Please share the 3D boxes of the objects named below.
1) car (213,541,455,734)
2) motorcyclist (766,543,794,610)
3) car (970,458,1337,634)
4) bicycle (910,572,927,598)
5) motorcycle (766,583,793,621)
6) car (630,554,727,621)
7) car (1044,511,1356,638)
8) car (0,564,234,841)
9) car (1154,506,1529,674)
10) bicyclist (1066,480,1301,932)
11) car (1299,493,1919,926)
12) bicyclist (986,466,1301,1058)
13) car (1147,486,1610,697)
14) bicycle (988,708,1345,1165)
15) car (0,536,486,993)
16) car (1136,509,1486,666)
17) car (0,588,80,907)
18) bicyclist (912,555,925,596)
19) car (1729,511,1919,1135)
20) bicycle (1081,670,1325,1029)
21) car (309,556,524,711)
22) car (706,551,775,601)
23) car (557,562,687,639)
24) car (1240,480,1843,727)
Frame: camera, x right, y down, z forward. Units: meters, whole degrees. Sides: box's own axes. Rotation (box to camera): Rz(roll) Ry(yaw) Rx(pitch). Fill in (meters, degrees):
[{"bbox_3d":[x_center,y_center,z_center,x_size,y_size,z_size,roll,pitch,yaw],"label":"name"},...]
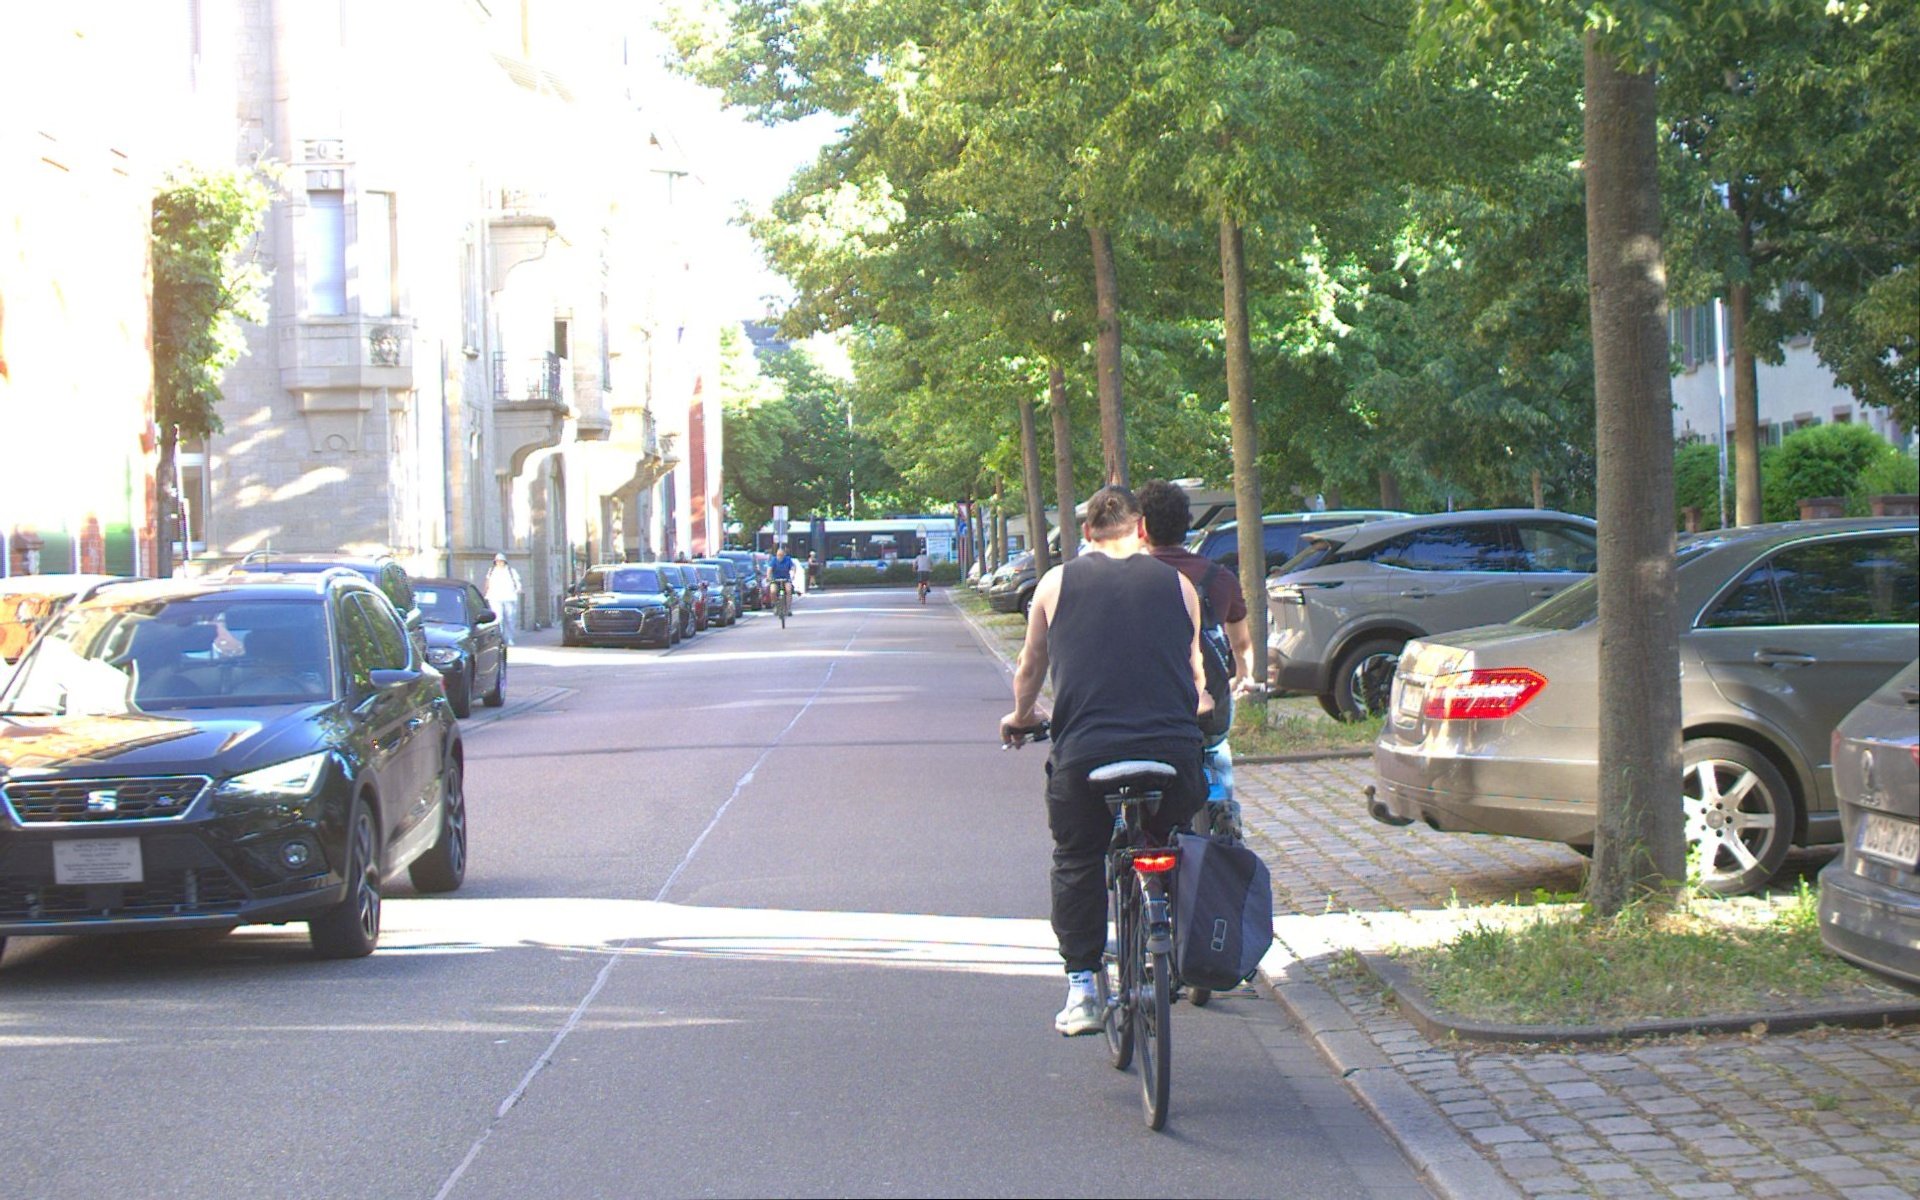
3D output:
[{"bbox_3d":[-5.772,0.339,32.089,1.630,1.660,3.969,-1,0,-2],"label":"car"},{"bbox_3d":[-3.916,-0.520,74.780,0.551,1.443,0.688,-2,1,-3],"label":"motorcyclist"},{"bbox_3d":[3.942,-1.092,71.007,7.333,3.271,2.223,-2,0,1],"label":"car"},{"bbox_3d":[-1.384,-0.496,114.655,0.541,0.825,1.919,-1,0,-1],"label":"bicycle"},{"bbox_3d":[-3.918,0.042,74.625,0.551,0.798,1.308,-2,1,-3],"label":"motorcycle"},{"bbox_3d":[-6.663,-0.281,81.700,1.993,1.525,4.000,-1,0,-1],"label":"car"},{"bbox_3d":[3.755,-0.395,54.479,4.757,1.774,1.854,-2,0,1],"label":"car"},{"bbox_3d":[-5.644,0.559,21.260,1.491,1.512,3.775,3,0,-1],"label":"car"},{"bbox_3d":[4.530,-0.117,41.332,4.243,1.791,1.854,-2,0,1],"label":"car"},{"bbox_3d":[0.774,0.360,12.154,0.718,1.521,0.972,-1,0,-1],"label":"bicyclist"},{"bbox_3d":[3.694,0.385,14.382,4.242,1.600,1.754,-2,0,-3],"label":"car"},{"bbox_3d":[0.482,0.420,9.410,0.706,1.521,0.972,-1,0,-5],"label":"bicyclist"},{"bbox_3d":[4.033,-0.077,33.675,4.243,1.833,1.854,-2,0,1],"label":"car"},{"bbox_3d":[0.523,0.866,9.532,0.696,1.069,1.969,-1,0,-5],"label":"bicycle"},{"bbox_3d":[-3.203,0.611,14.627,1.767,1.594,4.090,-4,0,-1],"label":"car"},{"bbox_3d":[4.457,-0.152,44.124,4.243,1.791,1.854,-2,0,1],"label":"car"},{"bbox_3d":[-5.435,0.678,15.718,1.755,1.512,4.115,3,0,-1],"label":"car"},{"bbox_3d":[-1.380,-0.818,114.564,0.417,1.346,0.430,-1,0,-1],"label":"bicyclist"},{"bbox_3d":[4.454,0.453,8.865,4.502,1.448,1.816,-2,0,1],"label":"car"},{"bbox_3d":[0.806,0.810,11.892,0.555,1.069,1.969,-1,1,-4],"label":"bicycle"},{"bbox_3d":[-5.686,0.330,36.358,1.615,1.477,4.018,3,0,-1],"label":"car"},{"bbox_3d":[-7.066,-0.760,110.805,1.993,1.525,4.000,-1,0,-1],"label":"car"},{"bbox_3d":[-6.053,0.021,61.966,1.971,1.315,4.000,-1,0,-1],"label":"car"},{"bbox_3d":[4.359,0.032,26.266,4.243,1.642,1.854,-2,0,1],"label":"car"}]
